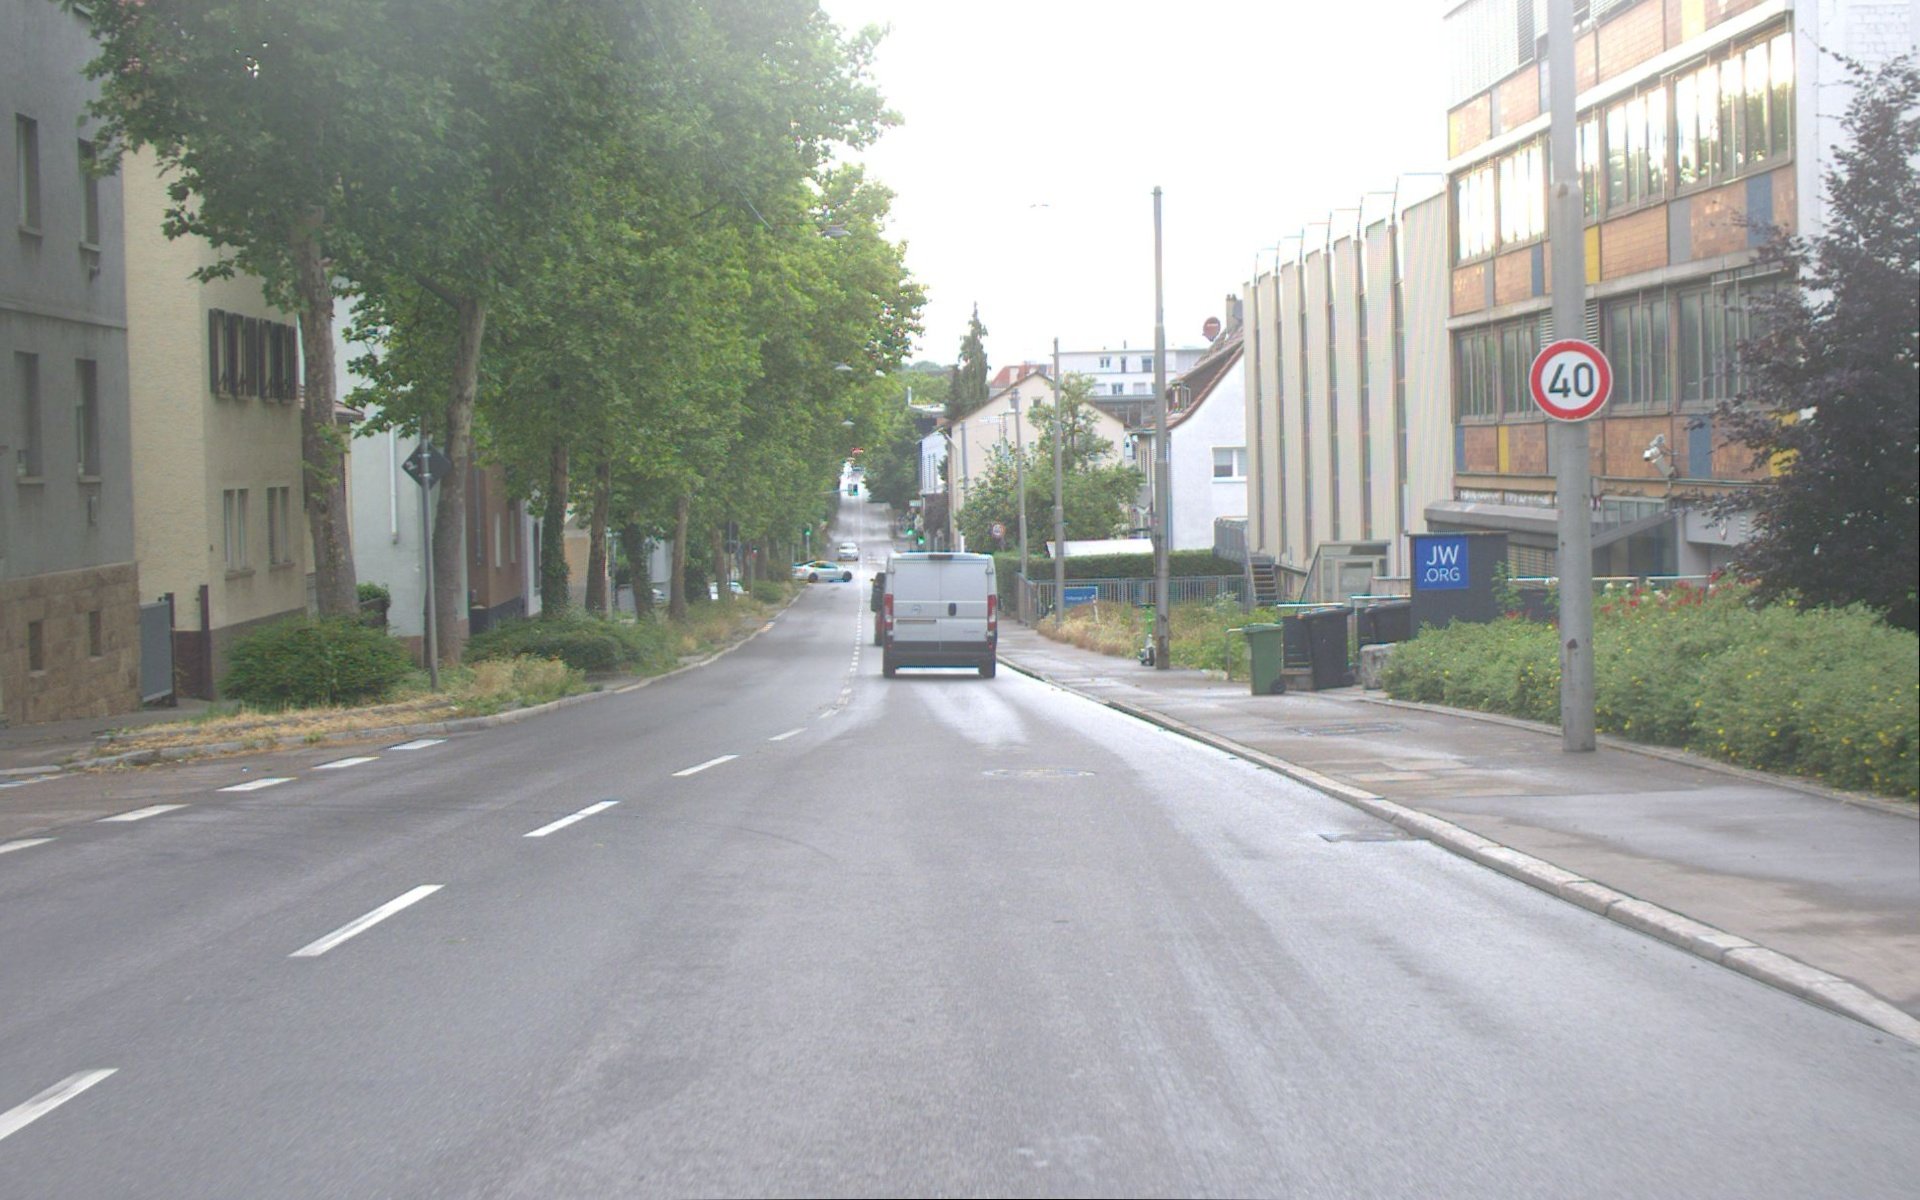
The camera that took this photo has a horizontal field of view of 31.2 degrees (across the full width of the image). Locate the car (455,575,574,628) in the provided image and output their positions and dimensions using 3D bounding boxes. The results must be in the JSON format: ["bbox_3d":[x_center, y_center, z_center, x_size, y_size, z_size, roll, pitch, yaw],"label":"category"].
[{"bbox_3d":[-16.600,0.040,128.167,4.196,1.885,2.000,-1,1,-2],"label":"car"}]

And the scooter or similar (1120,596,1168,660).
[{"bbox_3d":[3.426,0.516,64.137,0.605,1.158,1.700,-1,0,-6],"label":"scooter or similar"}]

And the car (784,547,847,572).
[{"bbox_3d":[-9.465,-2.679,225.679,1.998,1.571,3.991,0,1,39],"label":"car"}]

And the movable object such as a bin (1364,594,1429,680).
[{"bbox_3d":[5.767,0.482,45.469,0.695,1.078,0.778,-4,0,0],"label":"movable object such as a bin"}]

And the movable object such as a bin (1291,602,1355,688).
[{"bbox_3d":[4.795,0.593,45.407,0.695,1.078,0.778,-4,0,0],"label":"movable object such as a bin"}]

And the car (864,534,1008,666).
[{"bbox_3d":[-0.493,-0.039,62.869,2.346,2.153,4.778,-2,2,-3],"label":"car"}]

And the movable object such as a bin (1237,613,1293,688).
[{"bbox_3d":[4.013,0.663,45.242,0.619,0.933,0.686,-4,0,0],"label":"movable object such as a bin"}]
